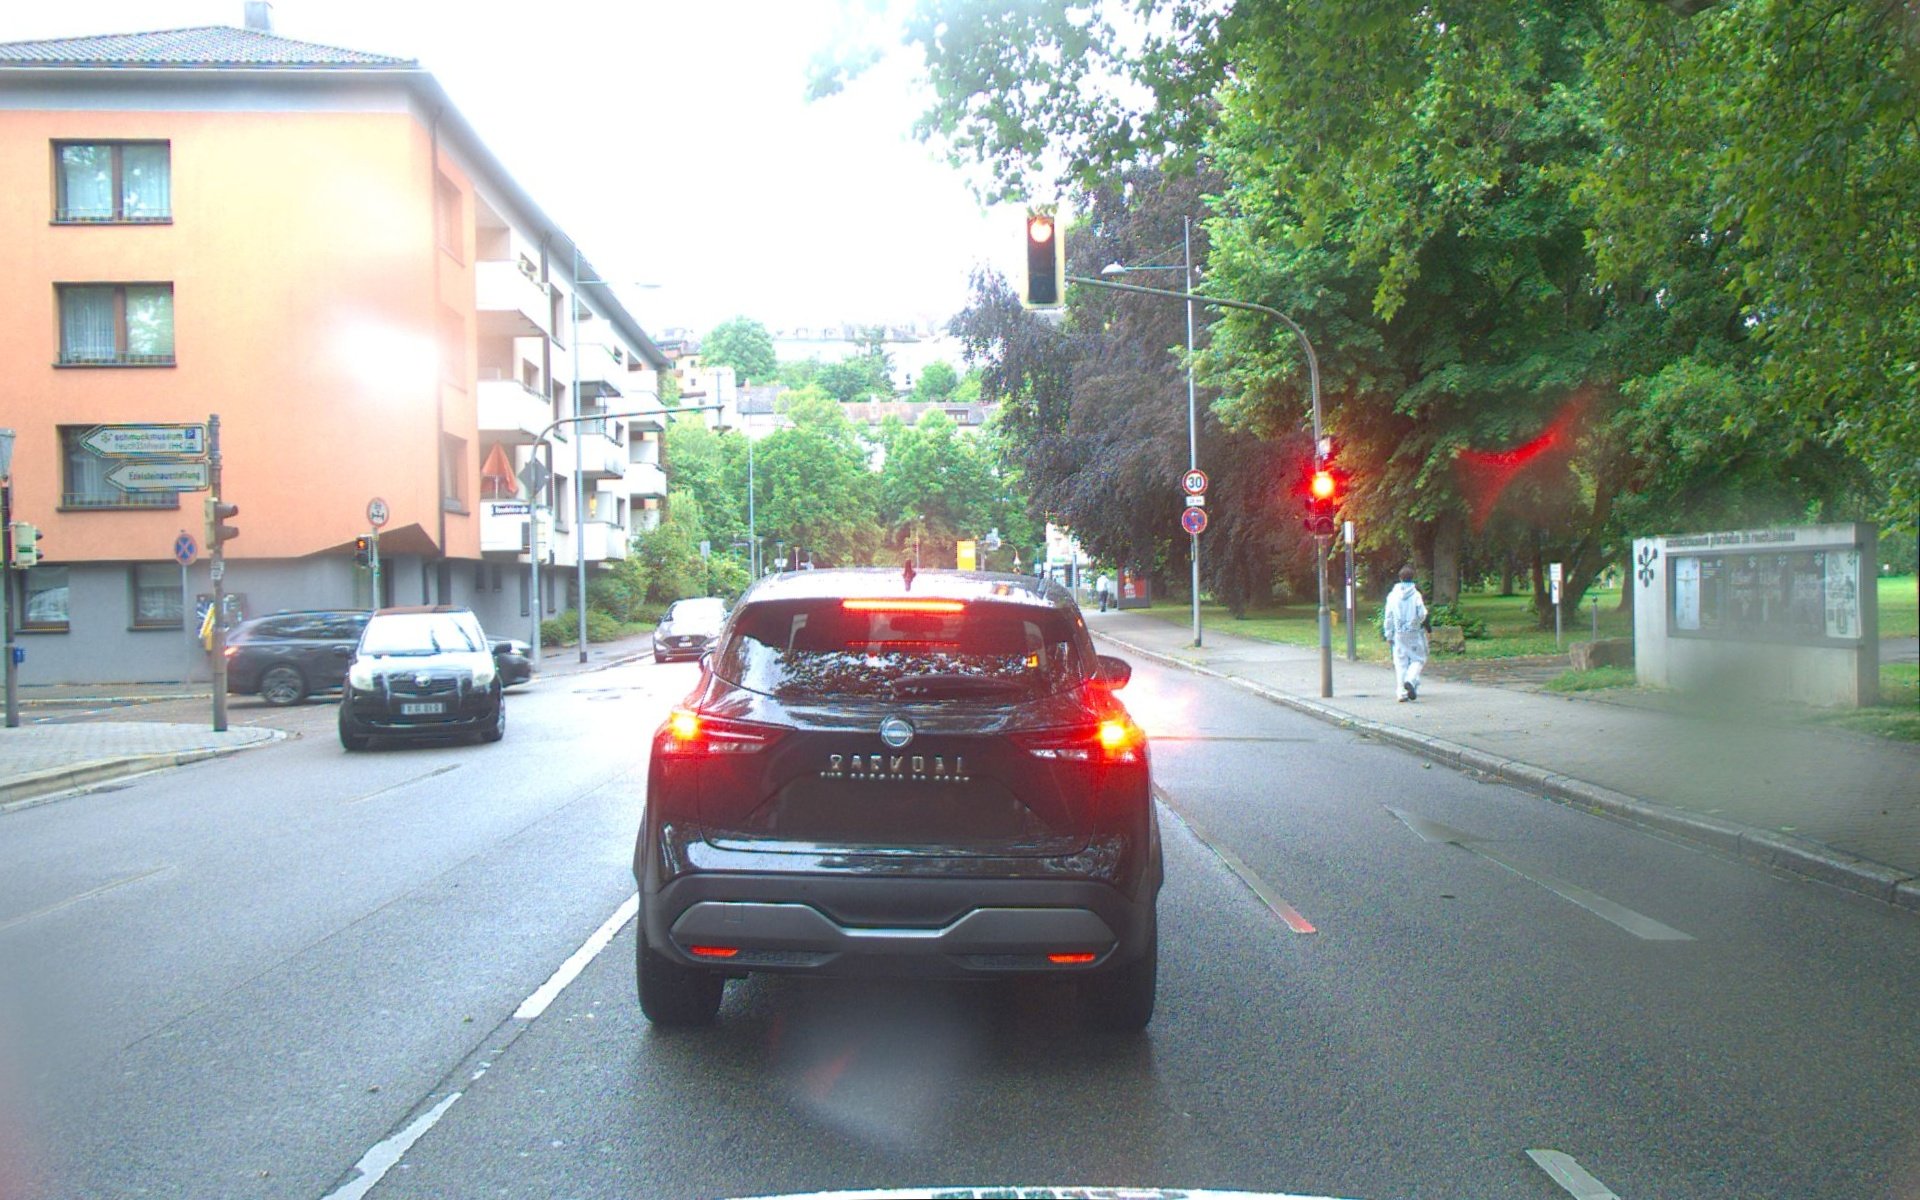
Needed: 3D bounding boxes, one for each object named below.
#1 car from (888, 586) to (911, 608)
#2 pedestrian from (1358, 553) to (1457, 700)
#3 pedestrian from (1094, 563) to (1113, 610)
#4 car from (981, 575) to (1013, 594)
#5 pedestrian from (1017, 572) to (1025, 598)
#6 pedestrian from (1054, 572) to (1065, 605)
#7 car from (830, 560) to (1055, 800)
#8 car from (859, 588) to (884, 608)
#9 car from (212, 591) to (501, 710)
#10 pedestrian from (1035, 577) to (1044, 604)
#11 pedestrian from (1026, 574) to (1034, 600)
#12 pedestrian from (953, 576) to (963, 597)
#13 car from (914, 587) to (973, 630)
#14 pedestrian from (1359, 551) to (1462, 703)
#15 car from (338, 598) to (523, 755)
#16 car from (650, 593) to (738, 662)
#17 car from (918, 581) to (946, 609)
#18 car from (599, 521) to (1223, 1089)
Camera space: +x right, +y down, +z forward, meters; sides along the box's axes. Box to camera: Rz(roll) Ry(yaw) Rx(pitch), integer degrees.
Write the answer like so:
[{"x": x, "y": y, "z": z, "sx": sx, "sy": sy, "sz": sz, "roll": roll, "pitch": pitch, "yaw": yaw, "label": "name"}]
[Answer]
[{"x": -4.667, "y": -0.250, "z": 127.792, "sx": 1.601, "sy": 1.559, "sz": 3.967, "roll": -2, "pitch": 0, "yaw": -1, "label": "car"}, {"x": 6.100, "y": 0.351, "z": 22.564, "sx": 1.017, "sy": 1.908, "sz": 0.656, "roll": -4, "pitch": 0, "yaw": -11, "label": "pedestrian"}, {"x": 6.330, "y": -0.608, "z": 73.127, "sx": 0.710, "sy": 2.049, "sz": 0.851, "roll": -2, "pitch": 0, "yaw": -1, "label": "pedestrian"}, {"x": 3.618, "y": -1.501, "z": 160.467, "sx": 1.952, "sy": 1.765, "sz": 4.000, "roll": 1, "pitch": 0, "yaw": 20, "label": "car"}, {"x": 4.295, "y": -1.069, "z": 117.029, "sx": 0.498, "sy": 1.833, "sz": 0.619, "roll": -2, "pitch": 0, "yaw": -1, "label": "pedestrian"}, {"x": 5.682, "y": -0.663, "z": 94.551, "sx": 0.497, "sy": 1.833, "sz": 0.620, "roll": -2, "pitch": 0, "yaw": 15, "label": "pedestrian"}, {"x": -0.157, "y": 0.596, "z": 14.455, "sx": 1.664, "sy": 1.776, "sz": 3.640, "roll": -2, "pitch": 0, "yaw": -1, "label": "car"}, {"x": -7.483, "y": -0.205, "z": 139.628, "sx": 1.930, "sy": 1.559, "sz": 3.967, "roll": -2, "pitch": 0, "yaw": -1, "label": "car"}, {"x": -9.815, "y": 0.790, "z": 27.216, "sx": 4.226, "sy": 1.707, "sz": 1.722, "roll": -2, "pitch": 0, "yaw": -13, "label": "car"}, {"x": 5.612, "y": -0.671, "z": 116.984, "sx": 0.498, "sy": 1.833, "sz": 0.619, "roll": -2, "pitch": 0, "yaw": -2, "label": "pedestrian"}, {"x": 4.945, "y": -0.919, "z": 117.147, "sx": 0.498, "sy": 1.833, "sz": 0.659, "roll": -2, "pitch": 0, "yaw": 3, "label": "pedestrian"}, {"x": -0.182, "y": -1.086, "z": 135.096, "sx": 0.498, "sy": 1.702, "sz": 0.658, "roll": -2, "pitch": 0, "yaw": 27, "label": "pedestrian"}, {"x": -0.645, "y": 0.279, "z": 59.850, "sx": 1.790, "sy": 1.428, "sz": 4.646, "roll": -2, "pitch": 0, "yaw": -4, "label": "car"}, {"x": 5.933, "y": 0.347, "z": 21.810, "sx": 1.017, "sy": 1.908, "sz": 0.656, "roll": -4, "pitch": 0, "yaw": -11, "label": "pedestrian"}, {"x": -6.035, "y": 0.793, "z": 19.217, "sx": 1.766, "sy": 1.560, "sz": 3.852, "roll": -2, "pitch": 0, "yaw": -14, "label": "car"}, {"x": -6.506, "y": 0.637, "z": 40.809, "sx": 1.760, "sy": 1.560, "sz": 3.864, "roll": -2, "pitch": 0, "yaw": -4, "label": "car"}, {"x": -1.675, "y": -0.296, "z": 98.373, "sx": 1.601, "sy": 1.559, "sz": 3.967, "roll": -2, "pitch": 0, "yaw": -1, "label": "car"}, {"x": -0.167, "y": 0.608, "z": 6.992, "sx": 1.874, "sy": 1.709, "sz": 3.999, "roll": 0, "pitch": 0, "yaw": -1, "label": "car"}]
